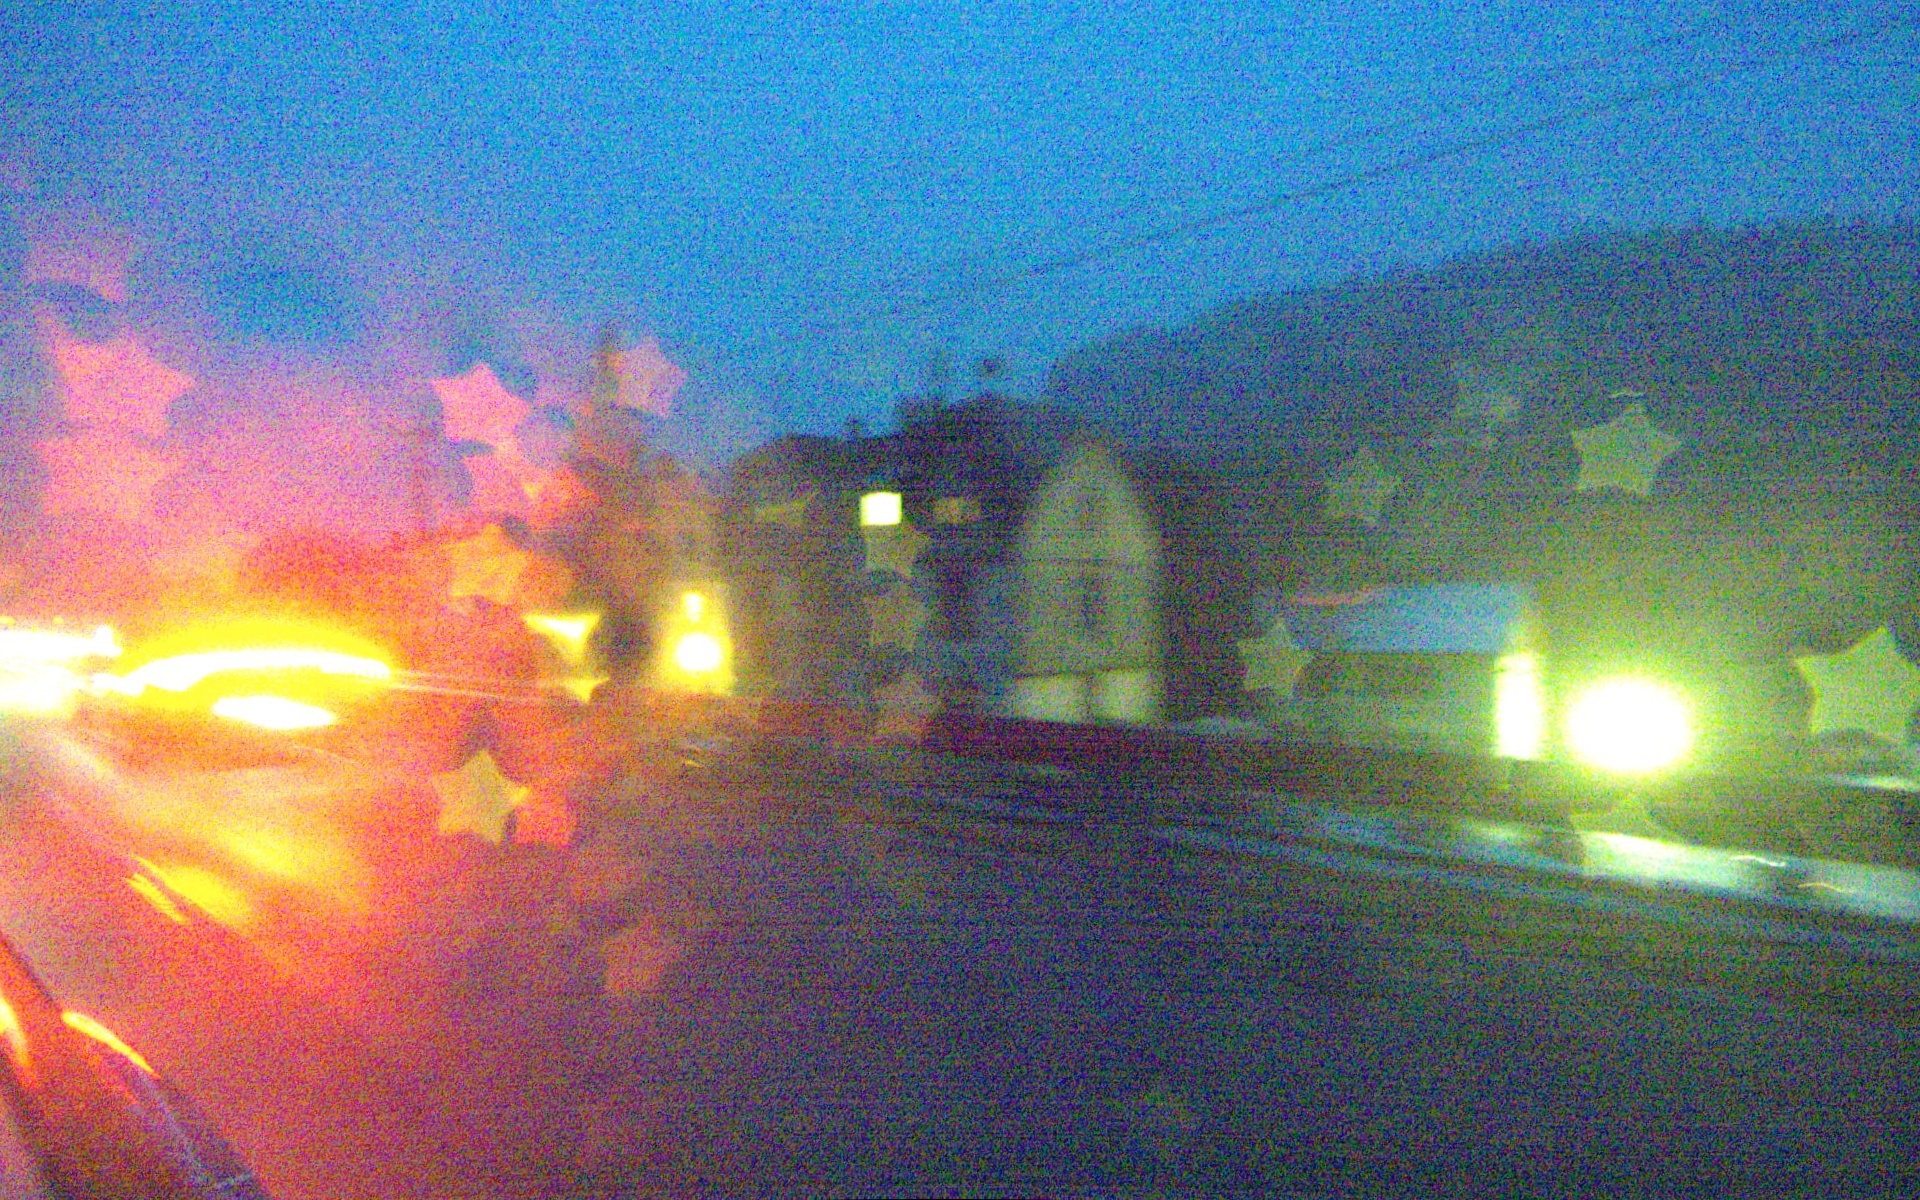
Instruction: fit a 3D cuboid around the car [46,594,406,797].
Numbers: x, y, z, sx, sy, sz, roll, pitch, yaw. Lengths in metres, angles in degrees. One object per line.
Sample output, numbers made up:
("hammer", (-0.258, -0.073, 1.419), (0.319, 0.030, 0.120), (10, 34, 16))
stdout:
("car", (-7.748, 0.829, 10.522), (4.453, 1.652, 2.075), (-1, -2, 41))
